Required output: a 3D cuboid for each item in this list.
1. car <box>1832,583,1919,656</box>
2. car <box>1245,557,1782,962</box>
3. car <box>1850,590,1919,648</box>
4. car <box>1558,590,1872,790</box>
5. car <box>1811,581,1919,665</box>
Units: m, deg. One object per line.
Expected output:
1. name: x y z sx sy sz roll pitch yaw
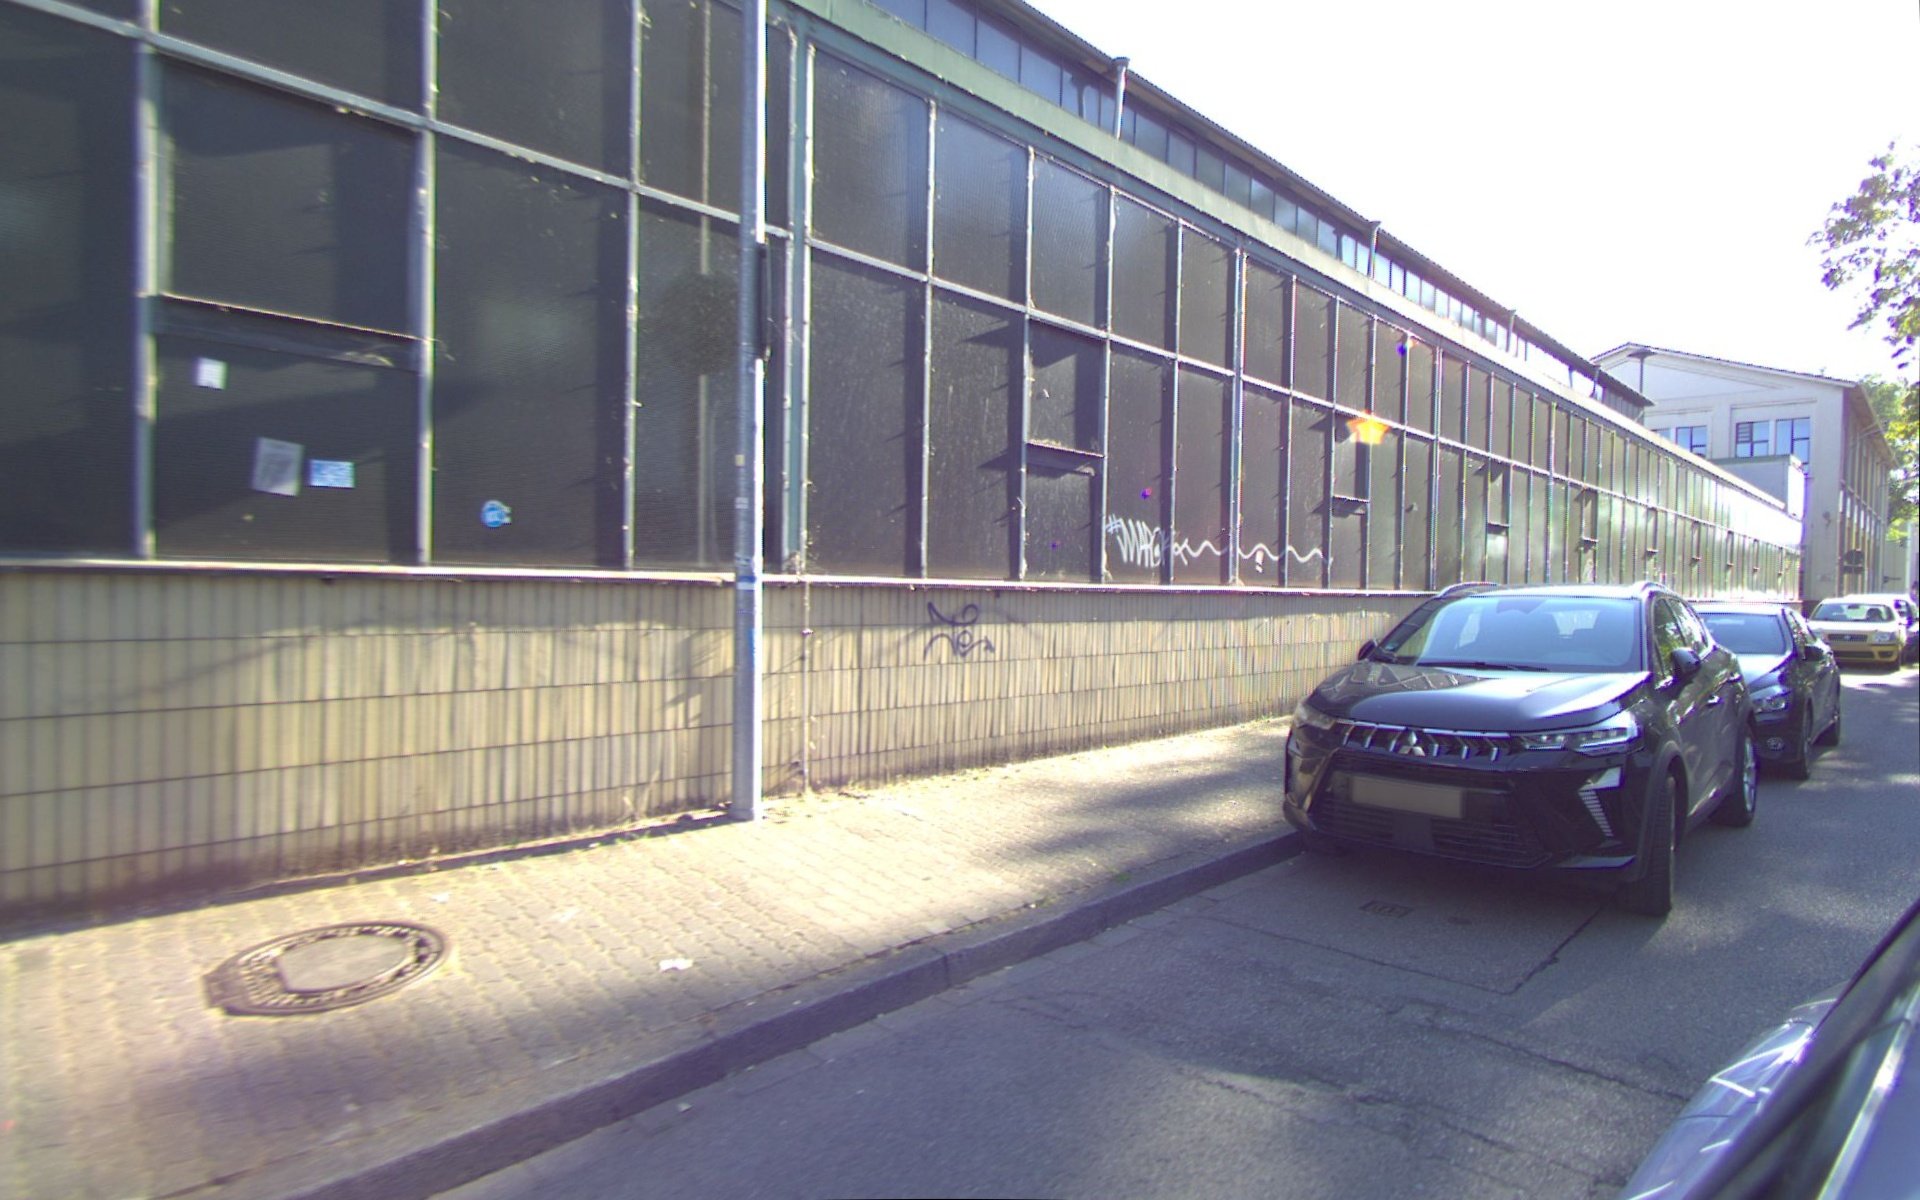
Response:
1. car: 23.105 0.430 25.182 4.238 1.655 1.752 -1 2 -44
2. car: 3.638 0.605 6.212 1.807 1.607 4.335 1 1 44
3. car: 26.969 0.500 29.082 1.900 1.512 4.458 2 2 43
4. car: 7.515 0.661 9.884 4.545 1.510 1.752 -1 1 -44
5. car: 20.026 0.438 22.246 1.751 1.655 3.939 2 2 44
